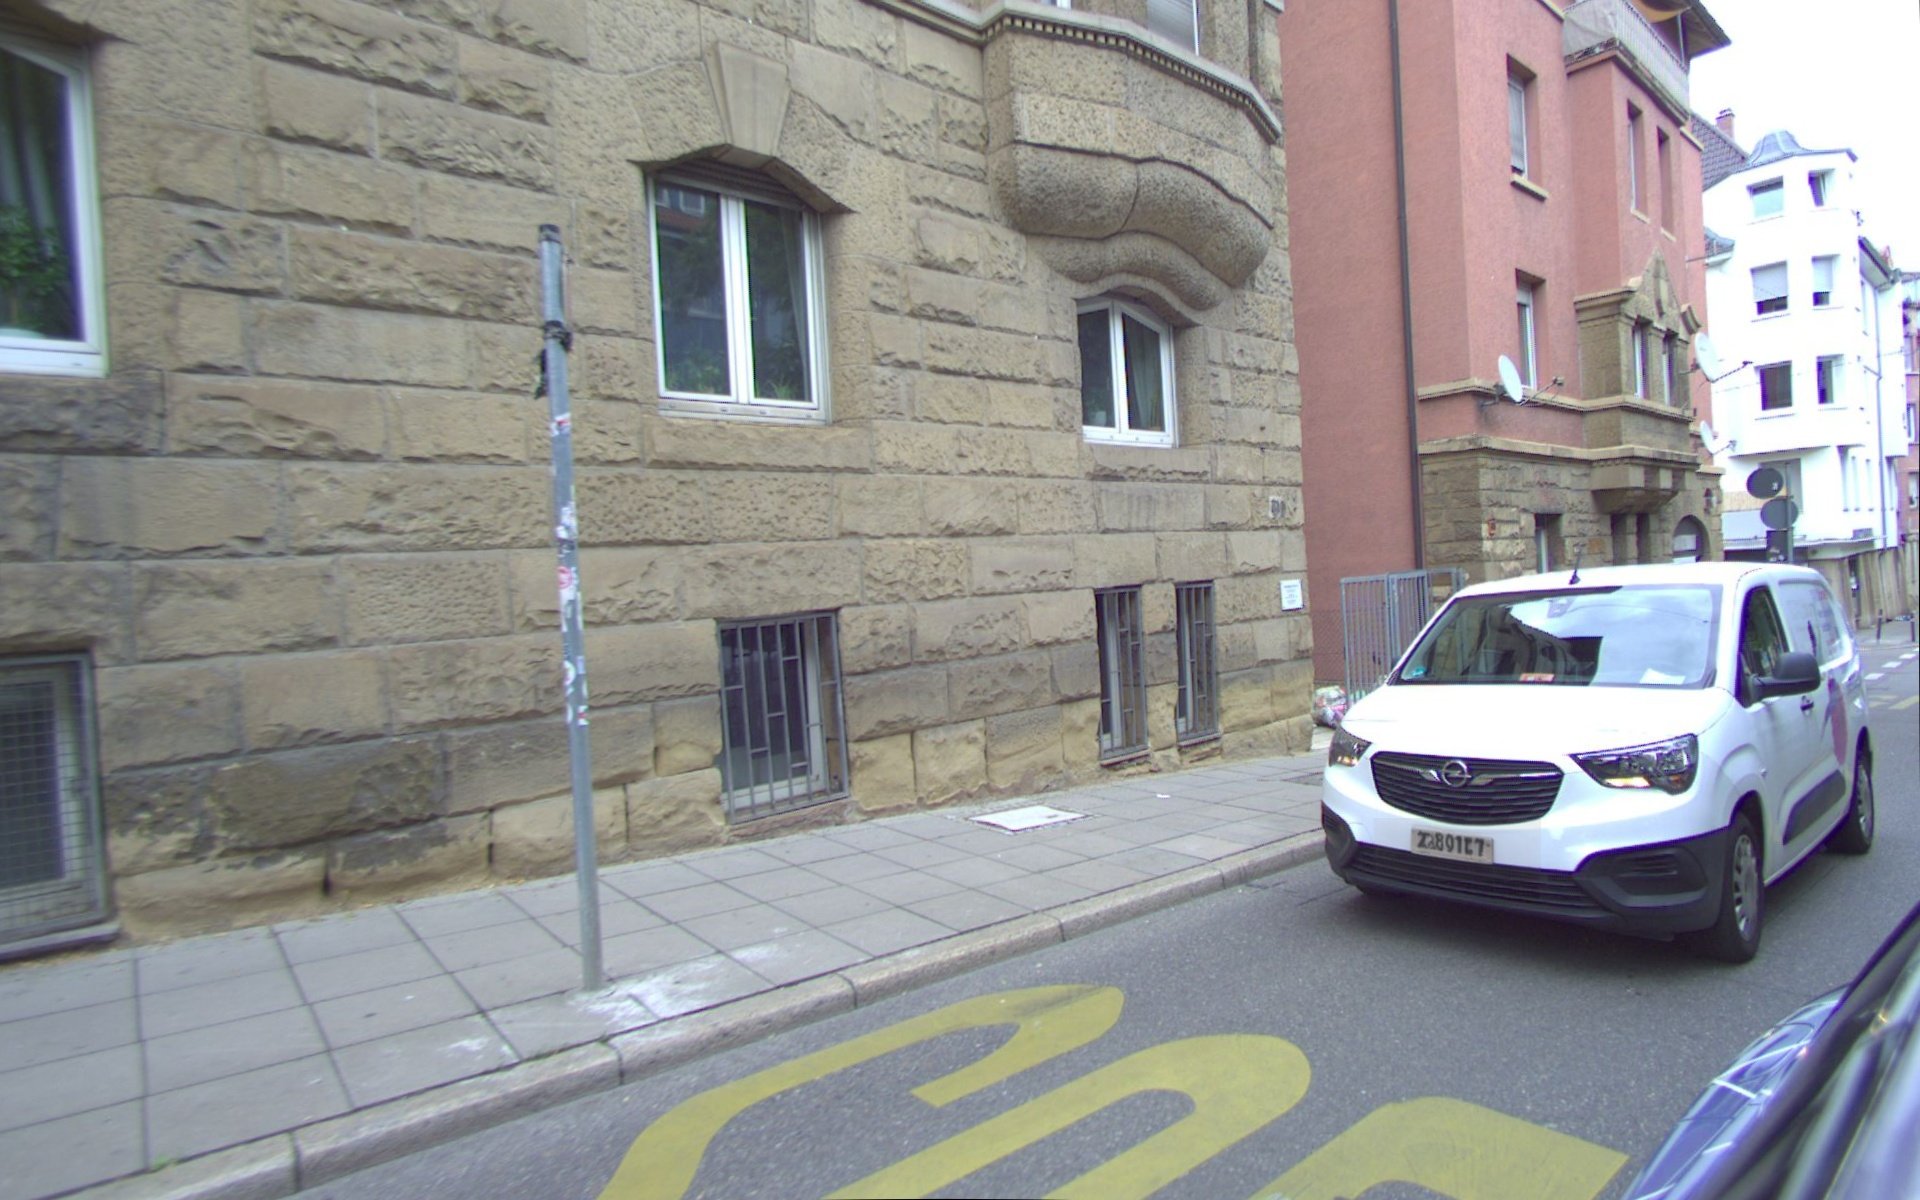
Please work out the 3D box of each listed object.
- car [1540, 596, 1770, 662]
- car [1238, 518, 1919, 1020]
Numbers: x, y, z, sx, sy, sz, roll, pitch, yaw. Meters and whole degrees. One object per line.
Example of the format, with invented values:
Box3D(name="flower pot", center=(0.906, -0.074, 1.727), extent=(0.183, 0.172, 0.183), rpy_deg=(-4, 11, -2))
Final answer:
Box3D(name="car", center=(20.110, 0.884, 29.452), extent=(5.125, 1.570, 2.203), rpy_deg=(-6, -3, 45))
Box3D(name="car", center=(4.001, 0.564, 5.965), extent=(4.929, 1.848, 1.854), rpy_deg=(-3, -1, -37))
